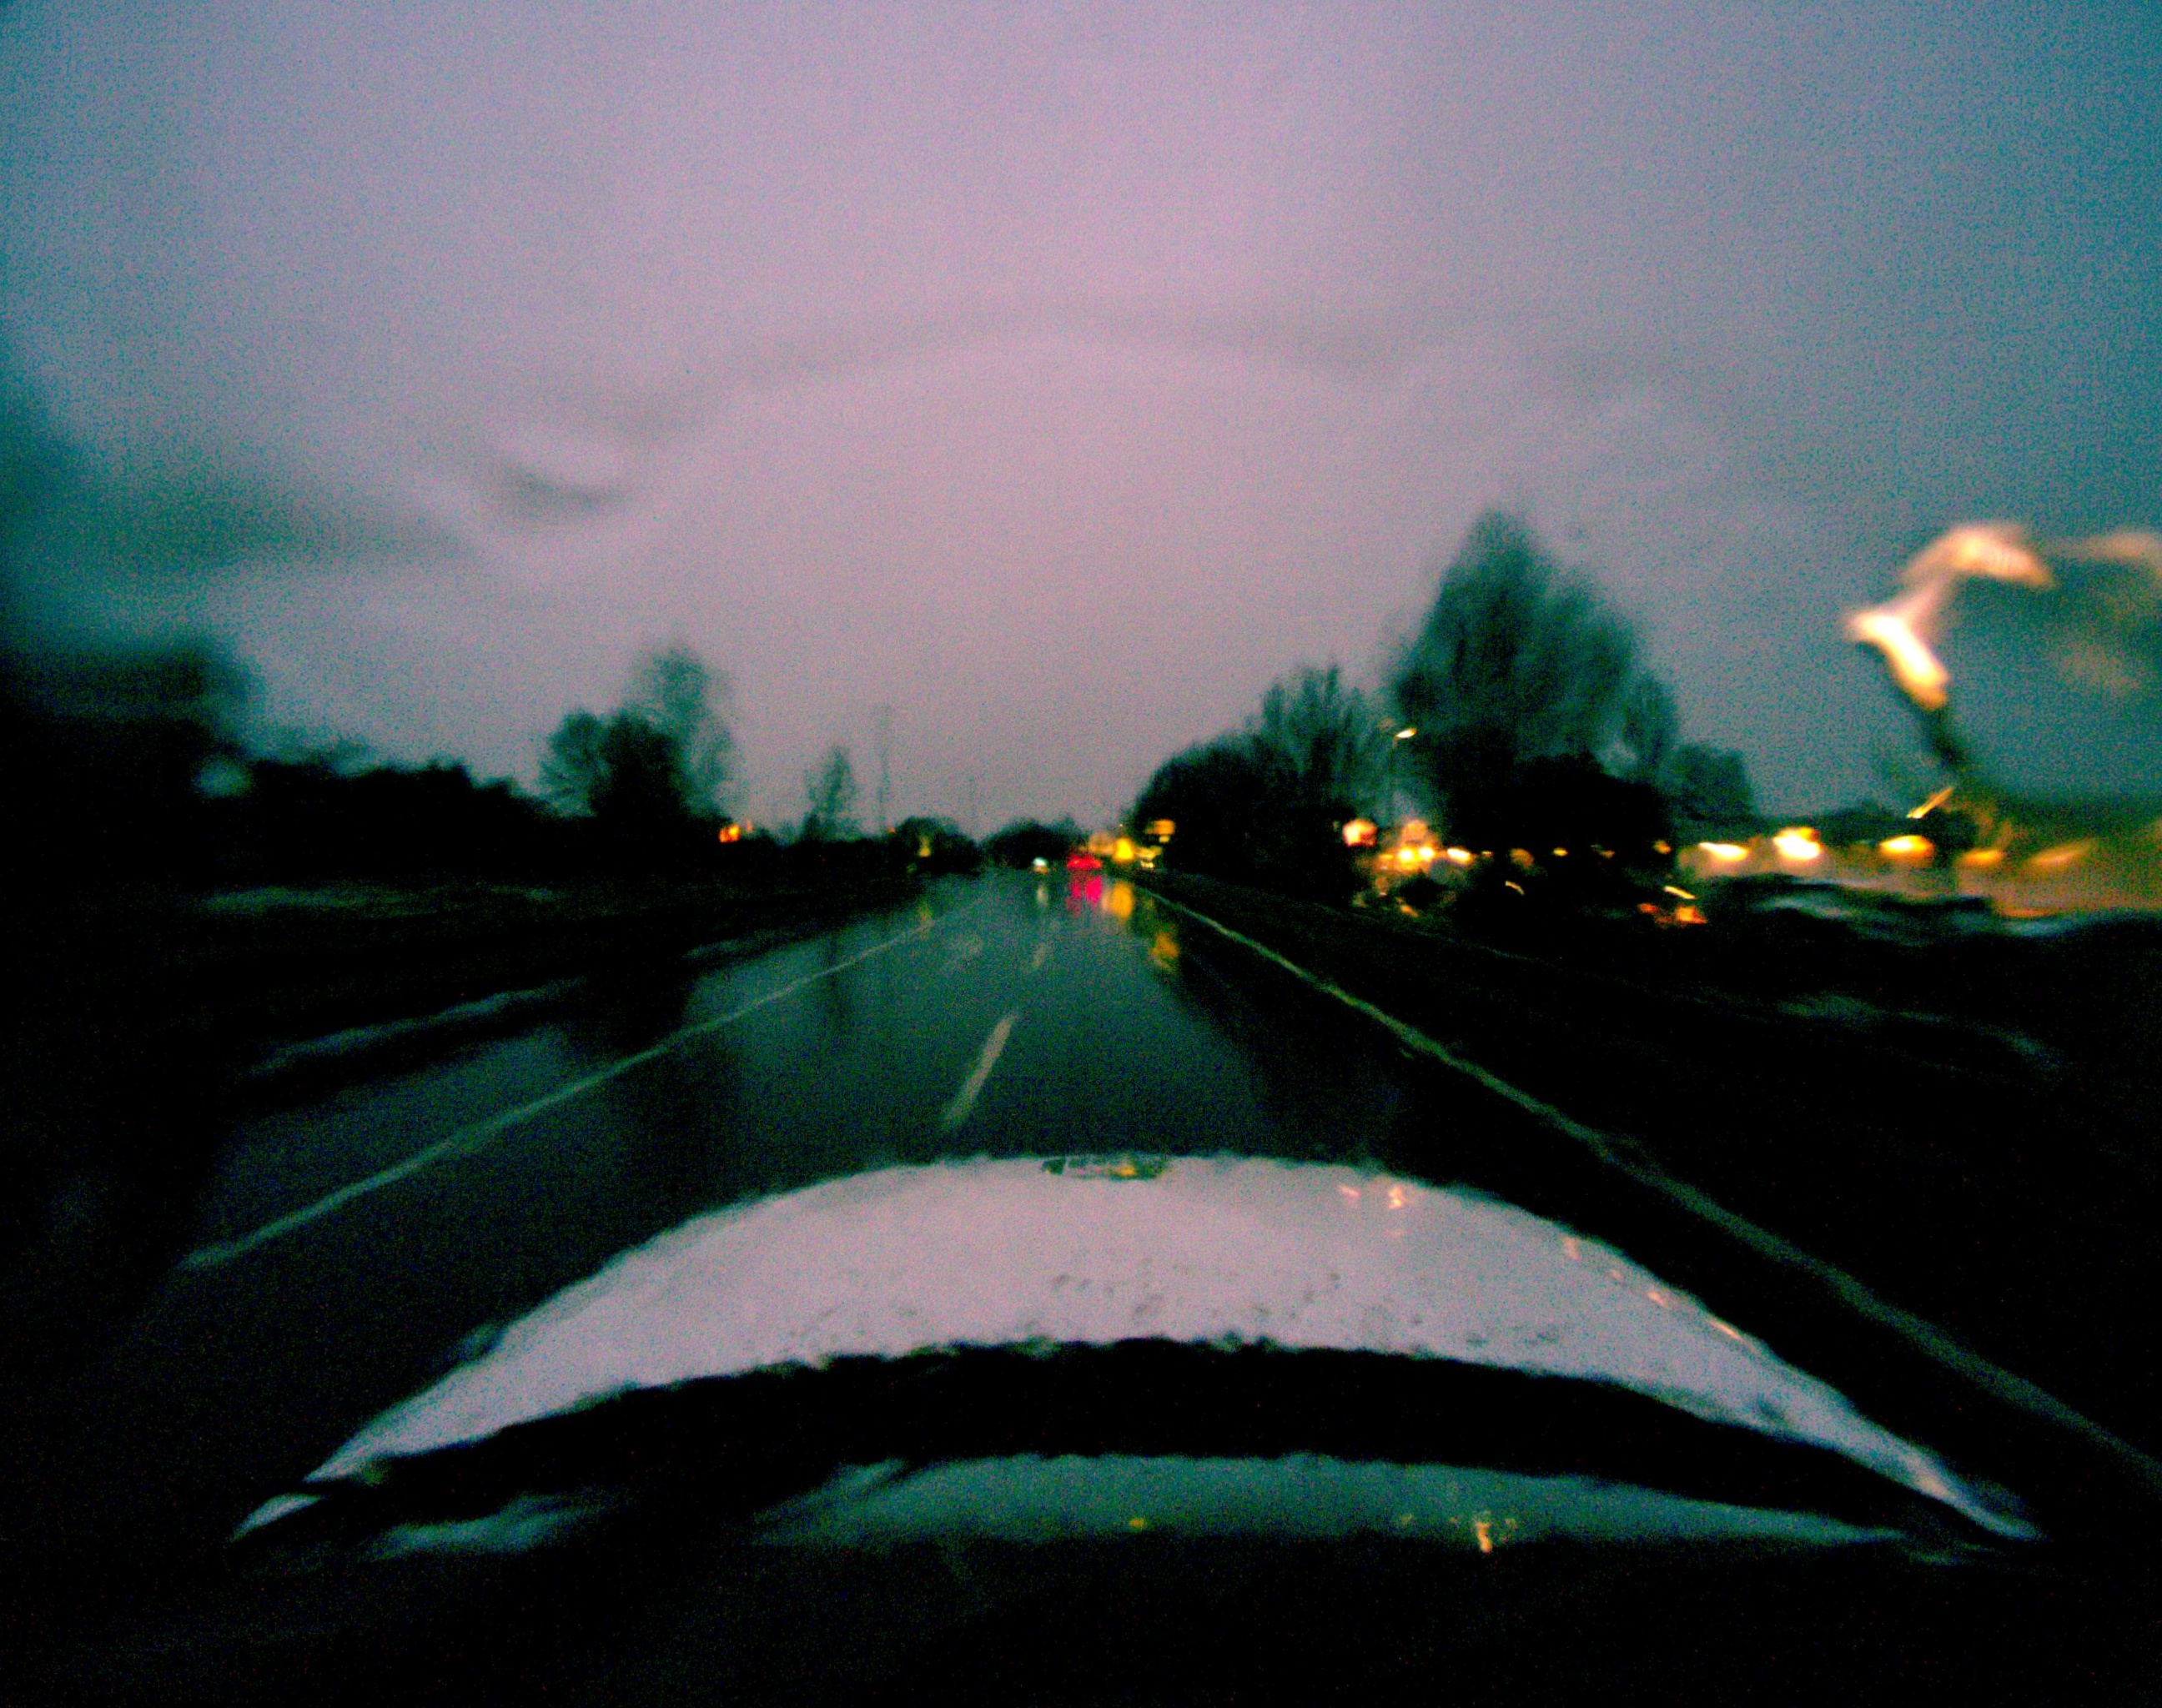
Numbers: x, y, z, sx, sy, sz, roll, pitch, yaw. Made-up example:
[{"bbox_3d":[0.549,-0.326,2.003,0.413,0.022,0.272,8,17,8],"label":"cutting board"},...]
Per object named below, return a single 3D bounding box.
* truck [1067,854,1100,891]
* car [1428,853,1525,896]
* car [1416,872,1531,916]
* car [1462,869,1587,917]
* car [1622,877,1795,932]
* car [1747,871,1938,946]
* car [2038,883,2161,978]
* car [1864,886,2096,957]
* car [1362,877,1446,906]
[{"bbox_3d":[0.182,1.440,66.833,2.525,2.869,5.918,0,0,-2],"label":"truck"},{"bbox_3d":[27.044,1.471,55.860,5.560,2.777,2.113,-3,-5,42],"label":"car"},{"bbox_3d":[16.680,1.660,34.650,4.137,1.724,2.010,-1,-1,-17],"label":"car"},{"bbox_3d":[17.570,1.523,32.307,4.138,1.730,2.009,0,-2,-18],"label":"car"},{"bbox_3d":[19.108,1.506,24.837,4.729,1.489,1.653,-1,-2,-16],"label":"car"},{"bbox_3d":[19.872,1.403,21.296,4.132,1.835,1.654,1,-2,-14],"label":"car"},{"bbox_3d":[21.087,1.418,15.620,4.256,1.630,1.989,1,0,-16],"label":"car"},{"bbox_3d":[20.190,1.471,18.340,4.129,1.422,1.656,0,0,-11],"label":"car"},{"bbox_3d":[15.862,1.836,40.081,3.535,1.424,1.657,0,-2,-9],"label":"car"}]
